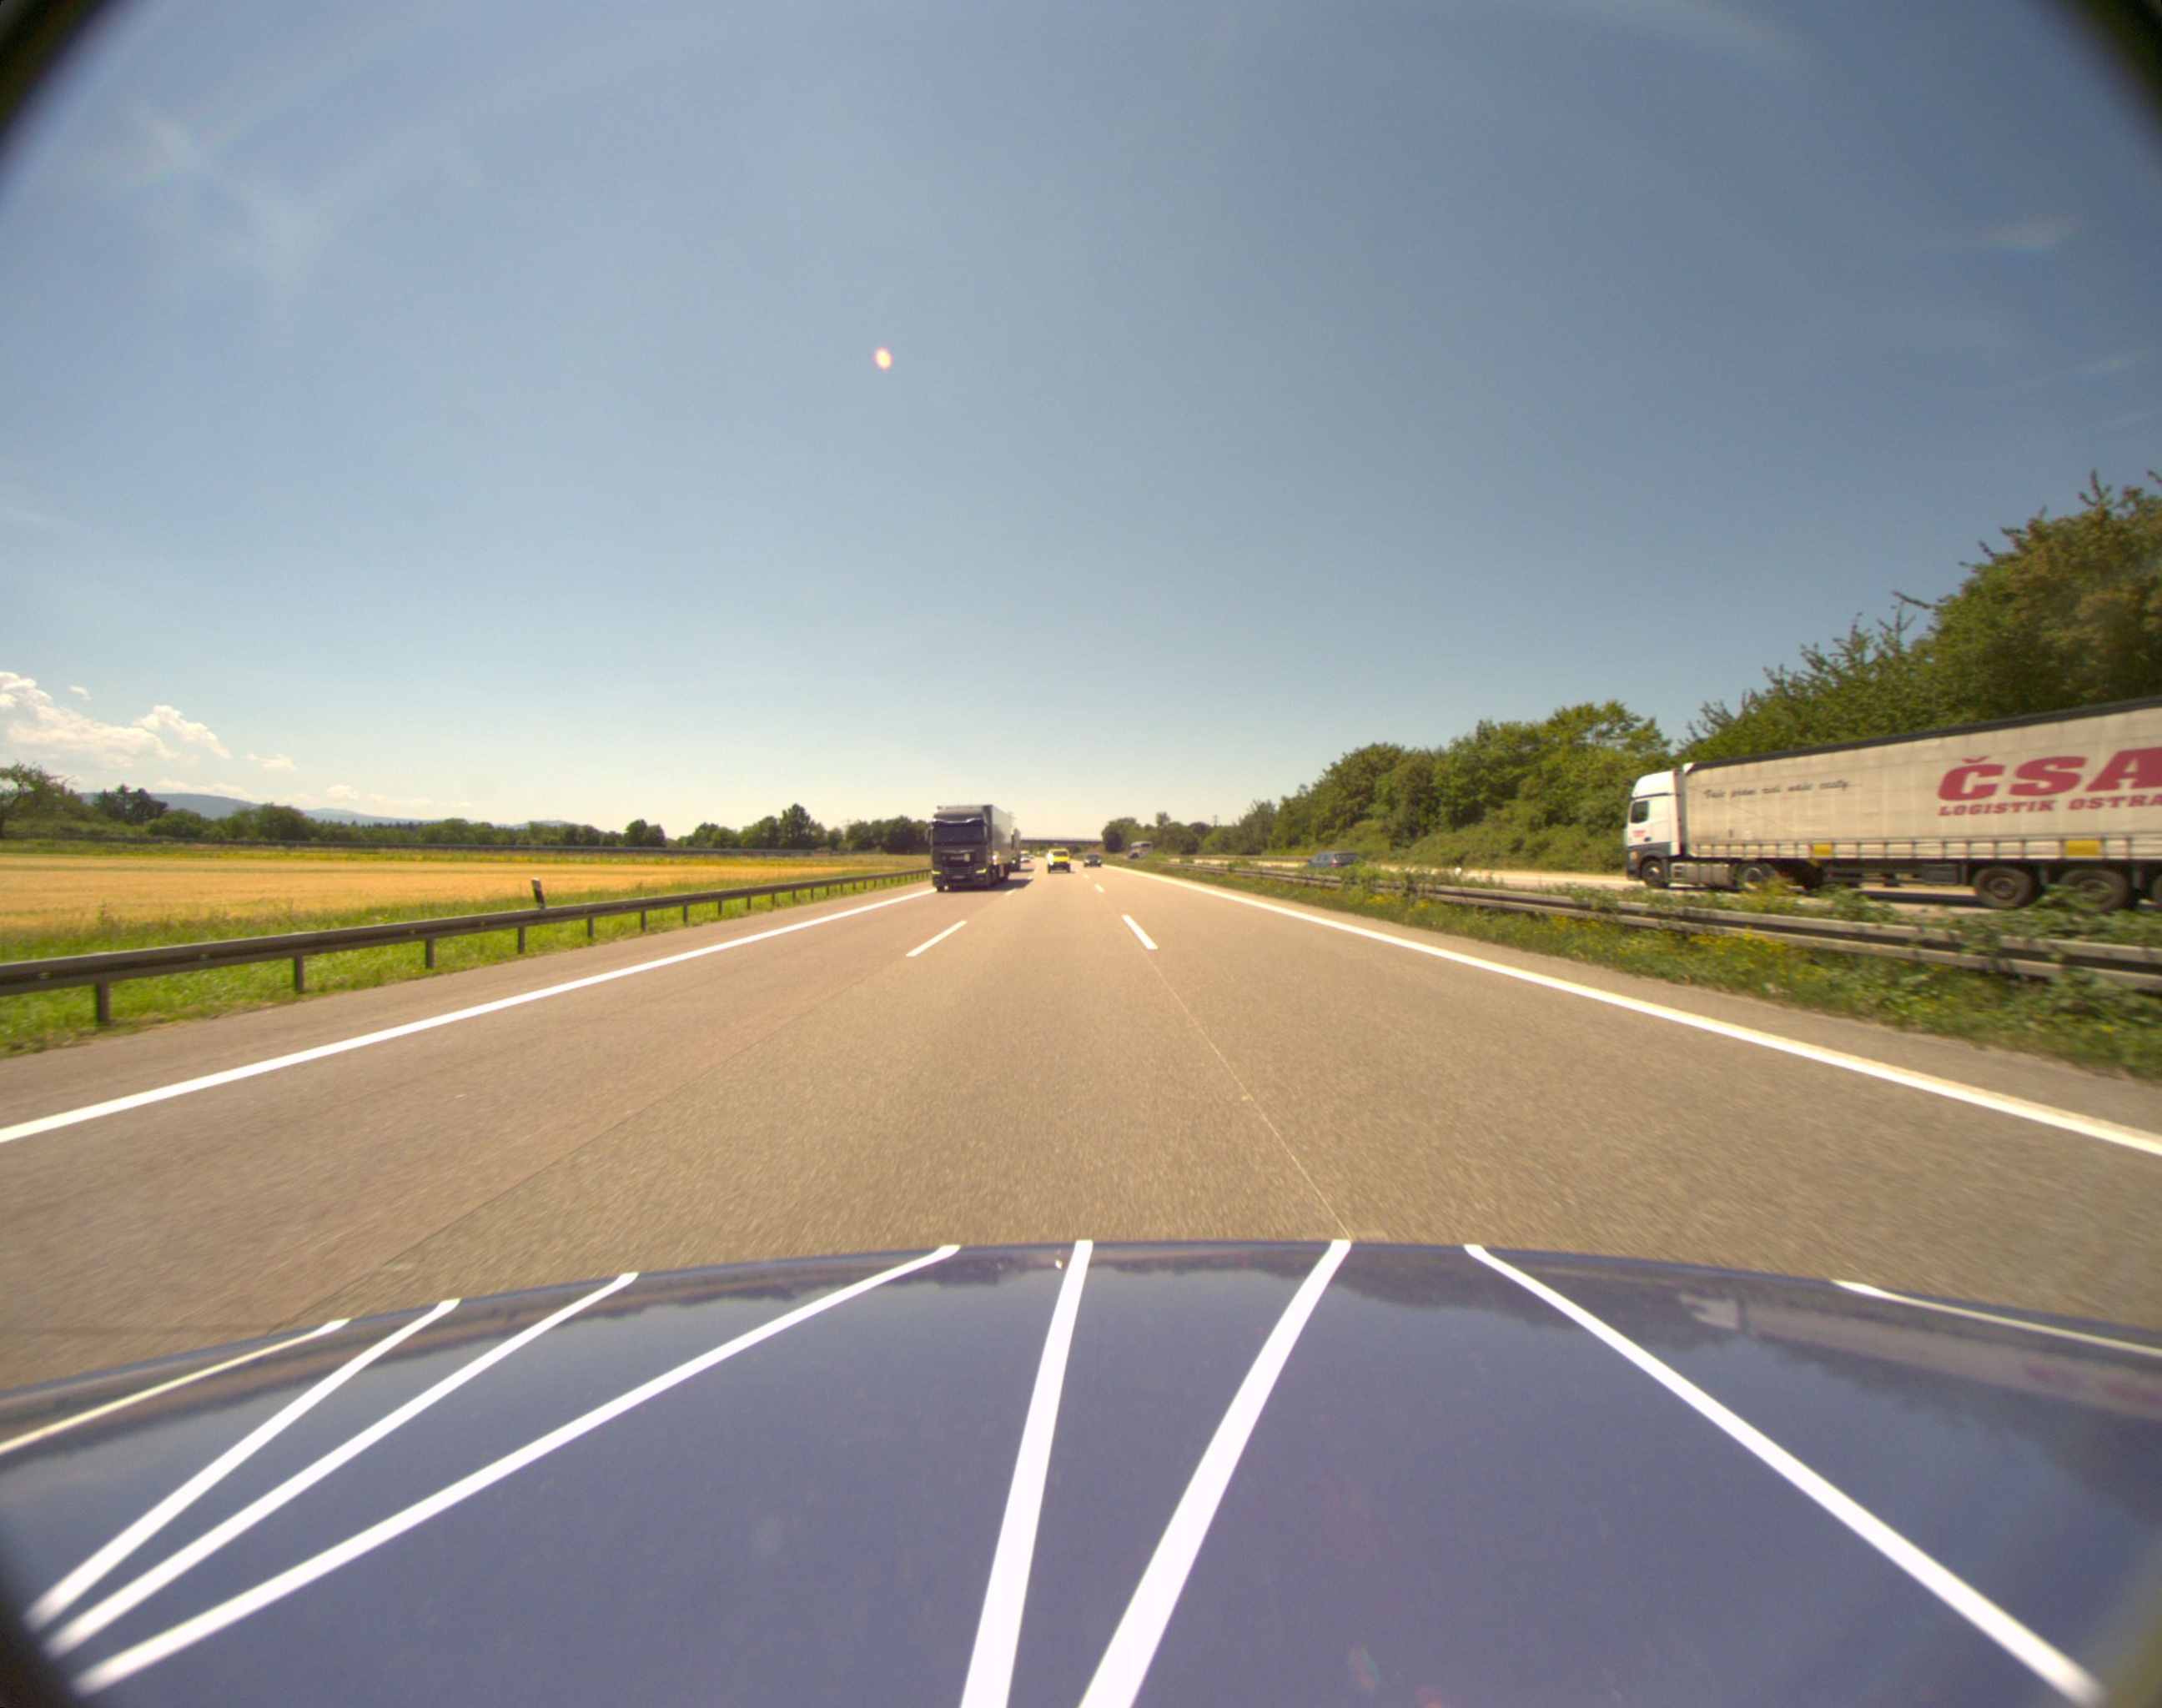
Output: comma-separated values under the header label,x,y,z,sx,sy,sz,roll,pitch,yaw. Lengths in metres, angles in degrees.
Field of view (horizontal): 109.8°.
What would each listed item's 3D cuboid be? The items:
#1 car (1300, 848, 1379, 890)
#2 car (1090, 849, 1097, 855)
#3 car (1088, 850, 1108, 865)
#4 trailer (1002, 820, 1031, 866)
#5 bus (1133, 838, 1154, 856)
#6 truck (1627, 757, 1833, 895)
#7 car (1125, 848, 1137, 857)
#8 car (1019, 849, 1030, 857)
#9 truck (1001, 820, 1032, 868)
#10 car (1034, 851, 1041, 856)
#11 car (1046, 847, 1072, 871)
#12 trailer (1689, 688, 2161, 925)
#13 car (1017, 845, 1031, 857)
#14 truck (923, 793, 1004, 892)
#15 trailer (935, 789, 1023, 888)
label,x,y,z,sx,sy,sz,roll,pitch,yaw
car,12.155,0.641,36.113,1.999,1.850,4.955,0,0,-1
car,3.450,-0.662,210.710,1.772,1.506,4.329,-2,1,-2
car,1.784,0.330,79.971,1.726,1.478,3.998,-1,0,-4
trailer,-6.535,-1.256,77.846,2.603,4.228,13.629,-2,2,-4
bus,13.322,-1.488,162.171,2.749,3.686,12.995,-2,1,-3
truck,20.234,-0.815,24.044,2.709,3.942,4.442,0,1,0
car,9.746,-0.247,147.556,1.830,1.622,4.557,-1,0,-2
car,-10.672,-0.216,143.290,1.786,1.467,3.995,0,1,-11
truck,-5.937,-0.954,70.169,2.608,4.233,5.085,-2,2,-4
car,-12.618,-0.180,220.940,1.650,1.557,3.596,0,1,-11
car,-1.852,0.374,62.976,1.778,1.882,3.829,0,1,-8
trailer,20.267,-0.865,16.796,2.713,4.160,13.556,0,1,-1
car,-11.338,-0.615,149.895,2.190,2.253,4.946,0,1,-11
truck,-5.394,-0.526,35.730,2.915,4.231,4.974,-2,1,0
trailer,-5.380,-0.792,42.925,2.908,4.630,13.984,-2,1,0
